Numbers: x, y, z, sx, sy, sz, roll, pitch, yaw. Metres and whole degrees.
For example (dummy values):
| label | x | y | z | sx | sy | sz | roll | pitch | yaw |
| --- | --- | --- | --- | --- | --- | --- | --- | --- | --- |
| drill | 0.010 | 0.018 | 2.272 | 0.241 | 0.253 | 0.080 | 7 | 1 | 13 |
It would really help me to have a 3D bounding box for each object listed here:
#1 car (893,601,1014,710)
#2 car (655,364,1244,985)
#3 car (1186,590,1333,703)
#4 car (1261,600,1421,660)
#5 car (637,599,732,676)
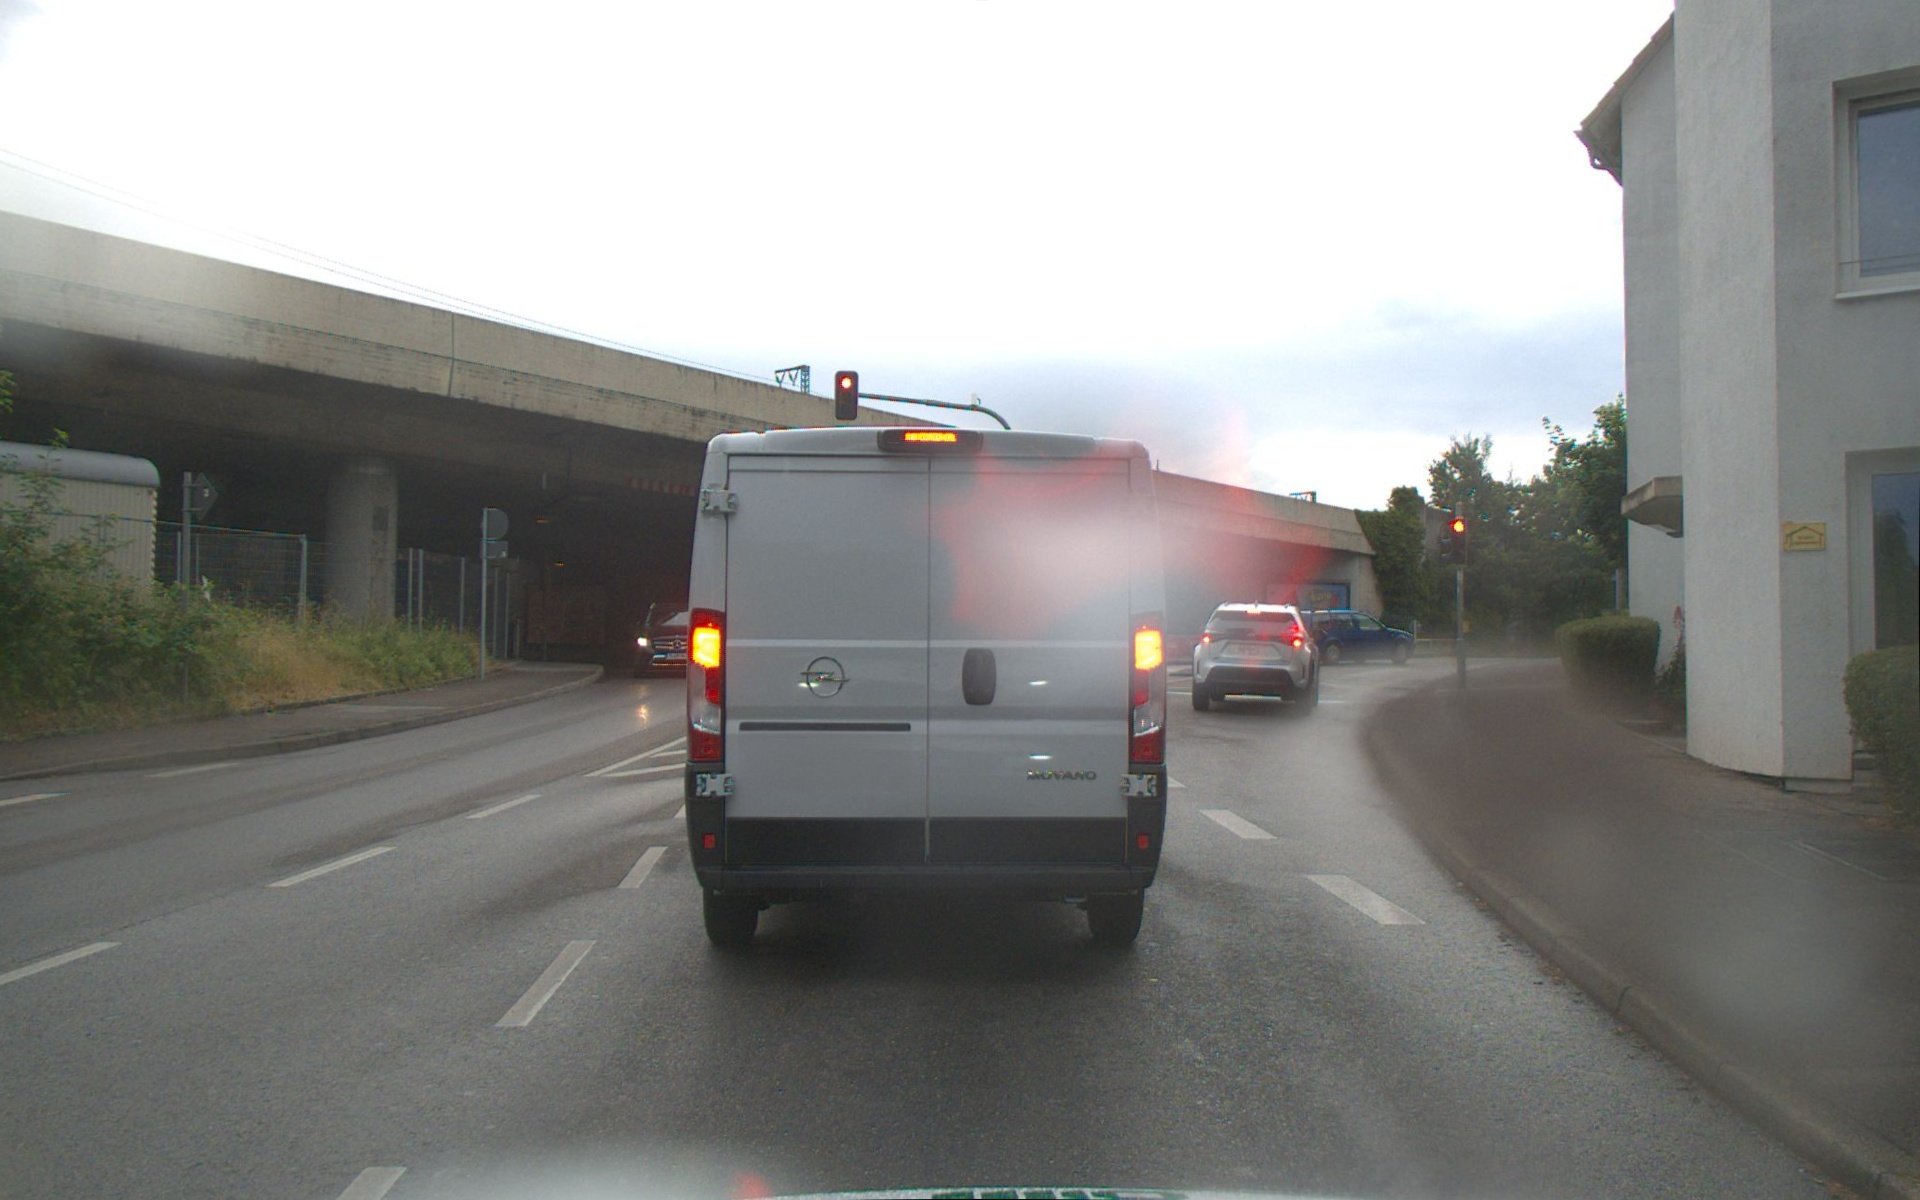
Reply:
| label | x | y | z | sx | sy | sz | roll | pitch | yaw |
| --- | --- | --- | --- | --- | --- | --- | --- | --- | --- |
| car | -0.038 | 0.954 | 28.805 | 1.952 | 1.759 | 4.000 | 0 | -2 | 2 |
| car | -0.033 | 0.310 | 9.135 | 2.258 | 2.384 | 5.282 | 1 | 0 | 0 |
| car | 4.670 | 0.704 | 25.335 | 1.951 | 1.576 | 4.002 | 0 | -2 | 14 |
| car | 10.255 | 0.838 | 44.519 | 3.944 | 1.545 | 1.980 | 1 | -2 | -30 |
| car | -6.238 | 0.823 | 37.887 | 1.878 | 1.655 | 4.428 | 0 | 0 | -6 |
